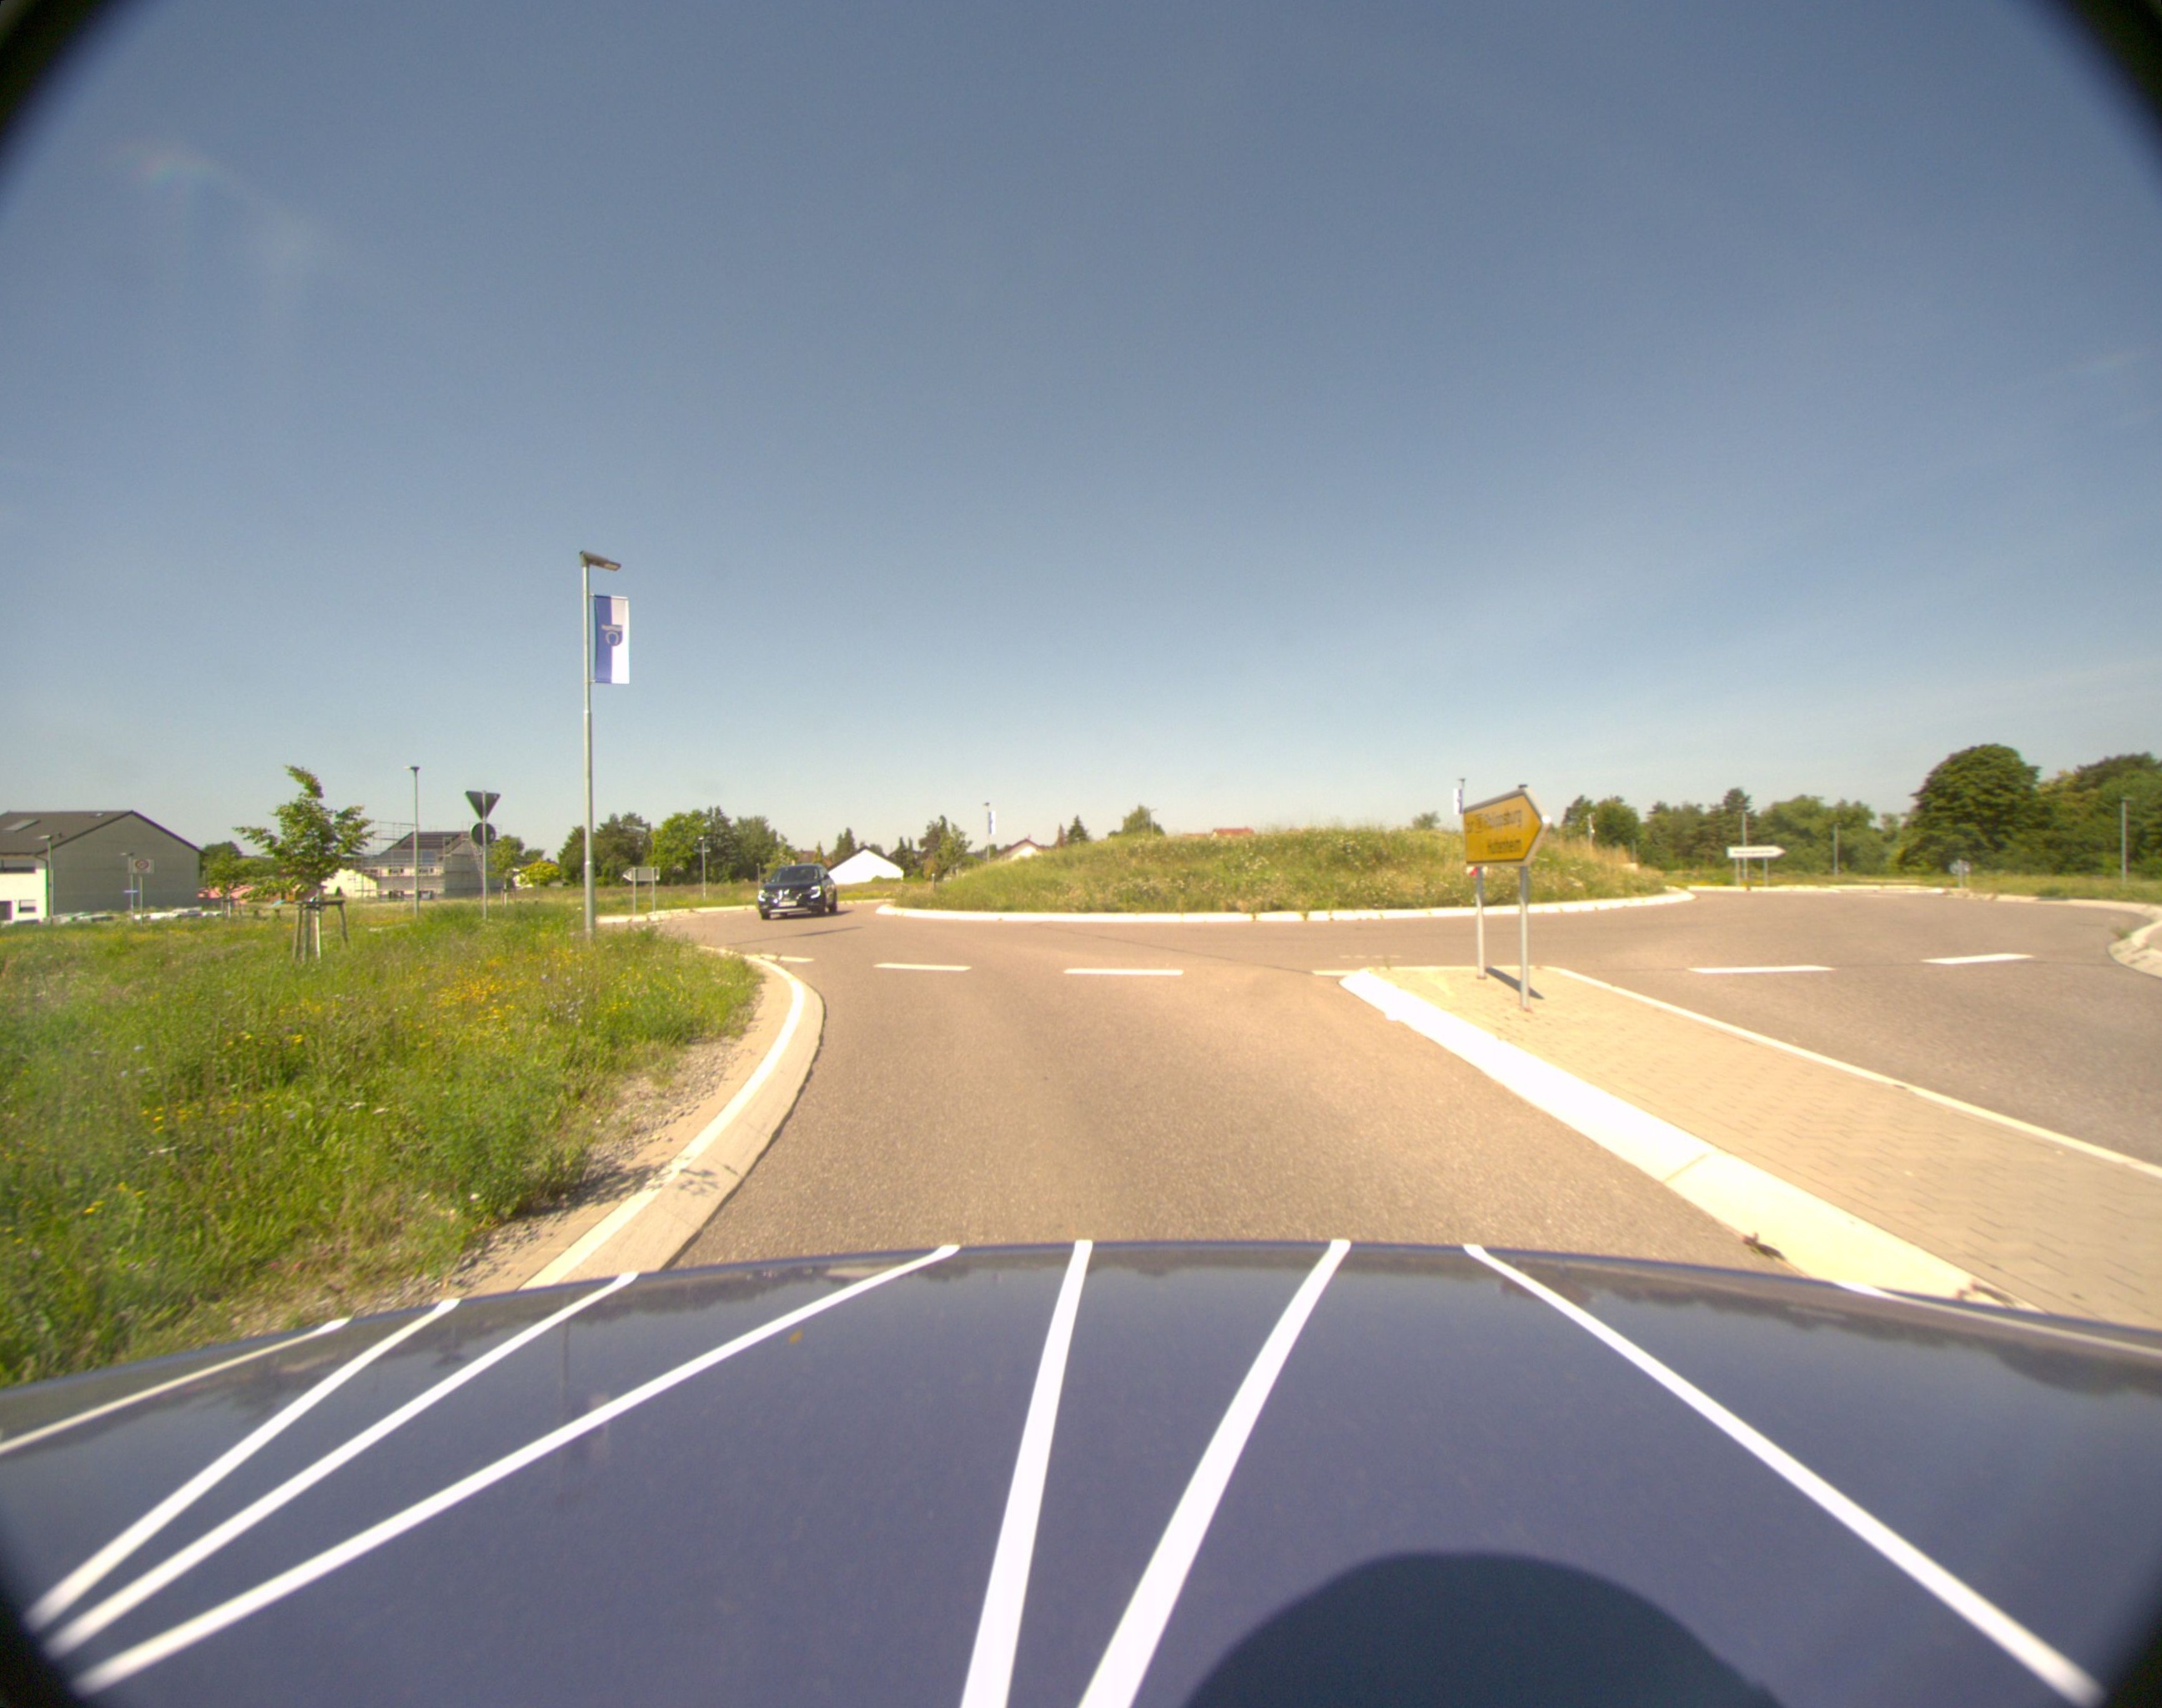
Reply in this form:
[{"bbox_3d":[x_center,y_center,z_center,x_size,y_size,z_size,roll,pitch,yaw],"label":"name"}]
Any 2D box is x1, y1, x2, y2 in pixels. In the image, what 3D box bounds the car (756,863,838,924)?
[{"bbox_3d":[-8.816,1.180,23.909,1.782,1.632,4.135,-3,-1,-13],"label":"car"}]
